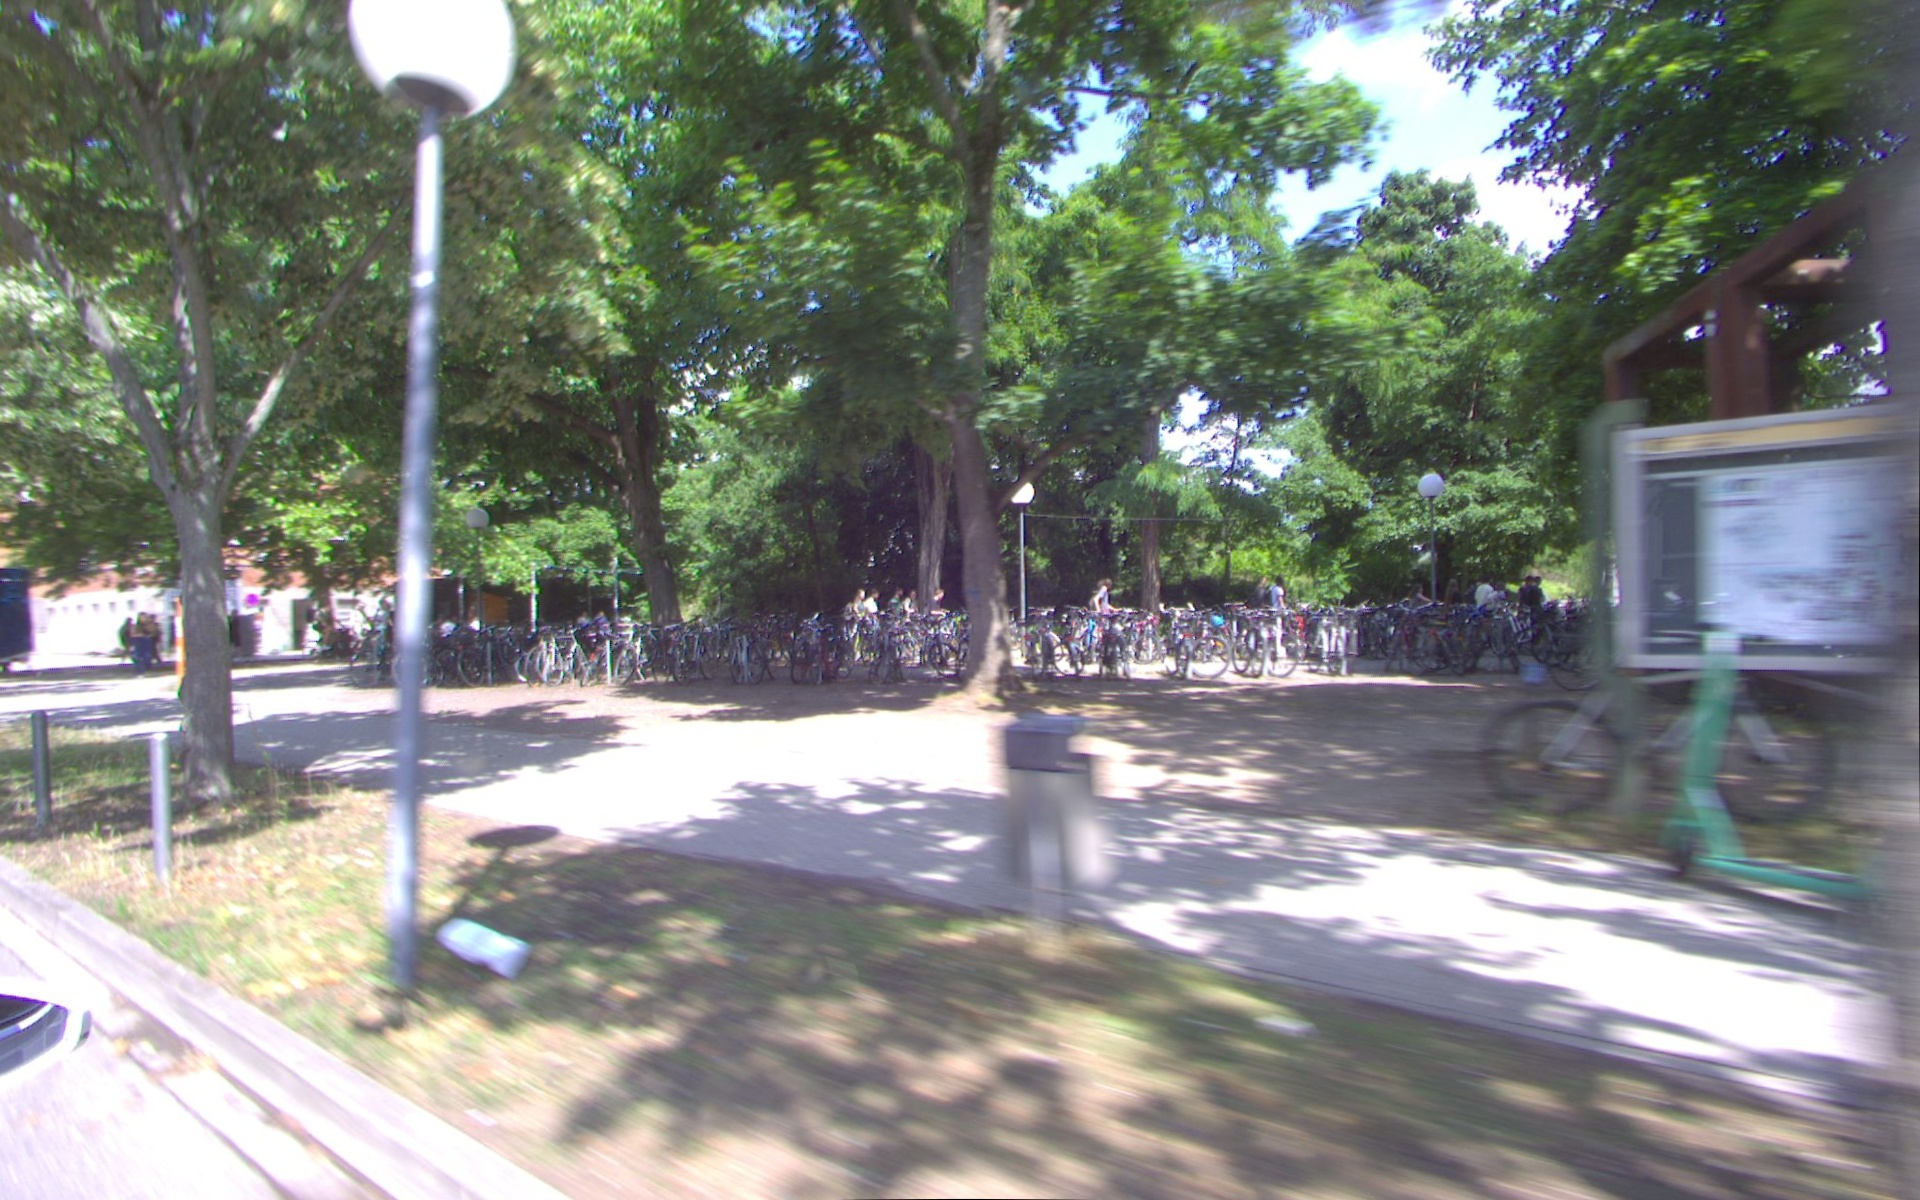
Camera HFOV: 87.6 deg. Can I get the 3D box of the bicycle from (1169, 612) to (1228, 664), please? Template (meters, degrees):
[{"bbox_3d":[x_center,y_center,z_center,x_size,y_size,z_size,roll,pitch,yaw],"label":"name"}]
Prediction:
[{"bbox_3d":[4.880,0.749,20.572,0.371,0.992,1.901,-2,0,-12],"label":"bicycle"}]

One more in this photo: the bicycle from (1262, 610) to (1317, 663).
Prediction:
[{"bbox_3d":[6.858,0.736,20.906,0.469,1.036,1.742,-2,0,-3],"label":"bicycle"}]

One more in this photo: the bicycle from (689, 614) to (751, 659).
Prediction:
[{"bbox_3d":[-5.865,0.879,24.593,0.601,0.992,1.901,-1,0,15],"label":"bicycle"}]

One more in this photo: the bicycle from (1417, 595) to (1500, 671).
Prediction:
[{"bbox_3d":[8.199,0.513,16.543,0.405,1.186,1.845,-1,0,-2],"label":"bicycle"}]

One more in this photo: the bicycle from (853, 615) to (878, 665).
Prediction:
[{"bbox_3d":[-2.052,0.846,21.884,0.469,0.992,1.903,-2,0,-4],"label":"bicycle"}]

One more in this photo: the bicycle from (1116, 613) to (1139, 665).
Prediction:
[{"bbox_3d":[3.490,0.794,20.948,0.371,0.992,1.903,-1,0,7],"label":"bicycle"}]

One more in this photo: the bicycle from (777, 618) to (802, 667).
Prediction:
[{"bbox_3d":[-3.732,0.900,21.841,0.469,0.992,1.902,-2,0,-11],"label":"bicycle"}]

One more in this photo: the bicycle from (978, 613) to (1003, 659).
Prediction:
[{"bbox_3d":[0.710,0.822,23.674,0.469,0.992,1.903,-2,0,-1],"label":"bicycle"}]

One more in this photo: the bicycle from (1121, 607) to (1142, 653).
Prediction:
[{"bbox_3d":[3.955,0.674,23.148,0.371,0.992,1.903,-1,0,7],"label":"bicycle"}]

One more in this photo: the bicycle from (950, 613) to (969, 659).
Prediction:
[{"bbox_3d":[-0.021,0.831,23.484,0.371,0.992,1.903,-2,0,-2],"label":"bicycle"}]

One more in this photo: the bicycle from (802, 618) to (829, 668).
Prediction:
[{"bbox_3d":[-3.176,0.915,21.946,0.469,0.992,1.902,-2,0,-11],"label":"bicycle"}]

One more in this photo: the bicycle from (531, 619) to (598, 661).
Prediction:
[{"bbox_3d":[-10.134,1.014,25.732,0.470,0.992,1.900,-1,1,18],"label":"bicycle"}]

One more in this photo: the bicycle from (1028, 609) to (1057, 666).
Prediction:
[{"bbox_3d":[1.737,0.768,21.214,0.469,1.097,1.903,-2,0,1],"label":"bicycle"}]

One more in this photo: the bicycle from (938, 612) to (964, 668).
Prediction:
[{"bbox_3d":[-0.186,0.819,21.240,0.469,1.097,1.903,-2,0,1],"label":"bicycle"}]

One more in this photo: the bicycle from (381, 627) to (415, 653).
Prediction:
[{"bbox_3d":[-24.919,1.764,44.381,2.001,1.155,0.571,-1,-1,37],"label":"bicycle"}]

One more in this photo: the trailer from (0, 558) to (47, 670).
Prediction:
[{"bbox_3d":[-29.247,0.459,29.160,6.176,3.092,2.682,-1,1,36],"label":"trailer"}]

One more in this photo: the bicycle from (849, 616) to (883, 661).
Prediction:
[{"bbox_3d":[-2.251,0.906,24.049,0.300,0.992,1.884,-1,0,10],"label":"bicycle"}]

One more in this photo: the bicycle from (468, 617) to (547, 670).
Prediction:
[{"bbox_3d":[-10.719,1.013,23.778,0.601,1.133,1.901,-1,1,15],"label":"bicycle"}]

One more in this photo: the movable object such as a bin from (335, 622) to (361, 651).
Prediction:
[{"bbox_3d":[-23.273,1.389,38.089,0.733,1.085,0.597,-3,-2,38],"label":"movable object such as a bin"}]

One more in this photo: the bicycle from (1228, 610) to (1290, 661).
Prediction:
[{"bbox_3d":[6.145,0.711,20.685,0.371,0.992,1.902,-2,0,-11],"label":"bicycle"}]

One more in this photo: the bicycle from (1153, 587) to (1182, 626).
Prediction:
[{"bbox_3d":[5.991,0.179,28.968,0.469,1.108,1.611,-2,1,0],"label":"bicycle"}]

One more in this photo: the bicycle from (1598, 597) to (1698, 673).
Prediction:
[{"bbox_3d":[11.313,0.549,16.528,0.428,1.186,1.845,-1,0,2],"label":"bicycle"}]

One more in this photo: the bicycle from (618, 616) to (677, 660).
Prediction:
[{"bbox_3d":[-7.803,0.940,25.087,0.414,0.992,1.901,-1,1,15],"label":"bicycle"}]

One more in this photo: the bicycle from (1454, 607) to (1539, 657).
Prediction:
[{"bbox_3d":[11.318,0.648,21.186,0.470,0.992,1.902,-2,0,-12],"label":"bicycle"}]

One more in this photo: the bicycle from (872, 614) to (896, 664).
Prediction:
[{"bbox_3d":[-1.659,0.834,21.911,0.469,0.992,1.903,-2,0,-4],"label":"bicycle"}]

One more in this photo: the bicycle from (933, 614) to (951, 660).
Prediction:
[{"bbox_3d":[-0.429,0.843,23.541,0.371,0.992,1.903,-2,0,-2],"label":"bicycle"}]

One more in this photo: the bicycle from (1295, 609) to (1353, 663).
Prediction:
[{"bbox_3d":[7.524,0.731,20.759,0.469,1.036,1.742,-2,0,-3],"label":"bicycle"}]

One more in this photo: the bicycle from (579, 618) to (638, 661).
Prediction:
[{"bbox_3d":[-8.893,0.983,25.399,0.470,0.992,1.902,-1,0,12],"label":"bicycle"}]

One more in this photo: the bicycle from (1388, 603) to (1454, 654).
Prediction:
[{"bbox_3d":[9.598,0.564,20.930,0.469,0.992,1.903,-2,0,-1],"label":"bicycle"}]

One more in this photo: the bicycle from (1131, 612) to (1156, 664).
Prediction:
[{"bbox_3d":[3.812,0.764,20.899,0.371,0.992,1.903,-1,0,7],"label":"bicycle"}]

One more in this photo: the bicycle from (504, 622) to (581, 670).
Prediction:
[{"bbox_3d":[-9.748,1.058,23.450,0.601,0.992,1.901,-1,0,15],"label":"bicycle"}]

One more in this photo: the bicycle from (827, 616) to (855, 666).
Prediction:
[{"bbox_3d":[-2.593,0.879,21.968,0.469,0.992,1.903,-2,0,-3],"label":"bicycle"}]

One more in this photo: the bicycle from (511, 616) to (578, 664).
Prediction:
[{"bbox_3d":[-10.873,1.030,26.255,0.470,1.158,1.900,-1,1,18],"label":"bicycle"}]

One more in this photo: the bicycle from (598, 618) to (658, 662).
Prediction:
[{"bbox_3d":[-8.284,0.974,25.047,0.414,0.992,1.901,-1,1,15],"label":"bicycle"}]

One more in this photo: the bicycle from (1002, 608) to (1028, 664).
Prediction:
[{"bbox_3d":[1.152,0.727,21.182,0.469,1.097,1.903,-2,0,1],"label":"bicycle"}]

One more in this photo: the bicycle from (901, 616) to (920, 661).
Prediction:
[{"bbox_3d":[-1.180,0.894,24.067,0.371,0.992,1.903,-2,0,-2],"label":"bicycle"}]

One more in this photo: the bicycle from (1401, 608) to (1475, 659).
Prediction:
[{"bbox_3d":[10.052,0.688,21.120,0.469,0.992,1.903,-2,0,-6],"label":"bicycle"}]

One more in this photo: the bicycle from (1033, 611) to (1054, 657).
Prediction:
[{"bbox_3d":[1.975,0.781,23.548,0.371,0.992,1.903,-1,0,7],"label":"bicycle"}]

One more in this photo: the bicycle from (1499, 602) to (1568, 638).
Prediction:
[{"bbox_3d":[16.558,0.571,28.927,1.719,0.944,0.586,-2,3,-6],"label":"bicycle"}]

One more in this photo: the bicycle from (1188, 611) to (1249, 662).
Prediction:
[{"bbox_3d":[5.309,0.728,20.675,0.371,0.992,1.901,-2,0,-12],"label":"bicycle"}]

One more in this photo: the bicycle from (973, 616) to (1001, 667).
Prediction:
[{"bbox_3d":[0.555,0.858,21.235,0.469,0.992,1.903,-2,0,-2],"label":"bicycle"}]

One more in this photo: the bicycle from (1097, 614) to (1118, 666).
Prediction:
[{"bbox_3d":[3.066,0.807,20.852,0.371,0.992,1.903,-1,0,7],"label":"bicycle"}]

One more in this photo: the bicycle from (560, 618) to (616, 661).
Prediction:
[{"bbox_3d":[-9.496,0.995,25.629,0.413,0.992,1.902,-1,0,9],"label":"bicycle"}]

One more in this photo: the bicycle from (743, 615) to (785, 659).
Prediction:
[{"bbox_3d":[-4.820,0.892,24.720,0.526,0.992,1.903,-2,0,3],"label":"bicycle"}]

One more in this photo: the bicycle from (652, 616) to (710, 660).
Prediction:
[{"bbox_3d":[-6.845,0.908,24.654,0.470,0.992,1.901,-1,0,14],"label":"bicycle"}]

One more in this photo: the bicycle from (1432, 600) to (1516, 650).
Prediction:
[{"bbox_3d":[10.793,0.510,21.109,0.470,0.992,1.902,-2,0,-12],"label":"bicycle"}]

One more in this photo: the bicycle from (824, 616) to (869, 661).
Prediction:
[{"bbox_3d":[-2.706,0.903,24.132,0.434,0.992,1.901,-1,0,13],"label":"bicycle"}]

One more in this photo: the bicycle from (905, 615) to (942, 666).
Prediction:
[{"bbox_3d":[-0.760,0.838,21.443,0.469,0.992,1.903,-2,0,7],"label":"bicycle"}]

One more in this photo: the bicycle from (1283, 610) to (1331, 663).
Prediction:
[{"bbox_3d":[7.241,0.733,20.971,0.287,1.036,1.742,-2,0,-3],"label":"bicycle"}]

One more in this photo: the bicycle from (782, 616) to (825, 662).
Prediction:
[{"bbox_3d":[-3.722,0.906,23.895,0.469,0.992,1.903,-2,0,7],"label":"bicycle"}]

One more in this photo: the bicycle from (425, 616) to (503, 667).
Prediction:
[{"bbox_3d":[-11.960,0.977,24.205,0.601,1.133,1.806,-1,1,15],"label":"bicycle"}]

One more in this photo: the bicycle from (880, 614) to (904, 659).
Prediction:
[{"bbox_3d":[-1.624,0.852,23.941,0.469,0.992,1.903,-2,0,-2],"label":"bicycle"}]
